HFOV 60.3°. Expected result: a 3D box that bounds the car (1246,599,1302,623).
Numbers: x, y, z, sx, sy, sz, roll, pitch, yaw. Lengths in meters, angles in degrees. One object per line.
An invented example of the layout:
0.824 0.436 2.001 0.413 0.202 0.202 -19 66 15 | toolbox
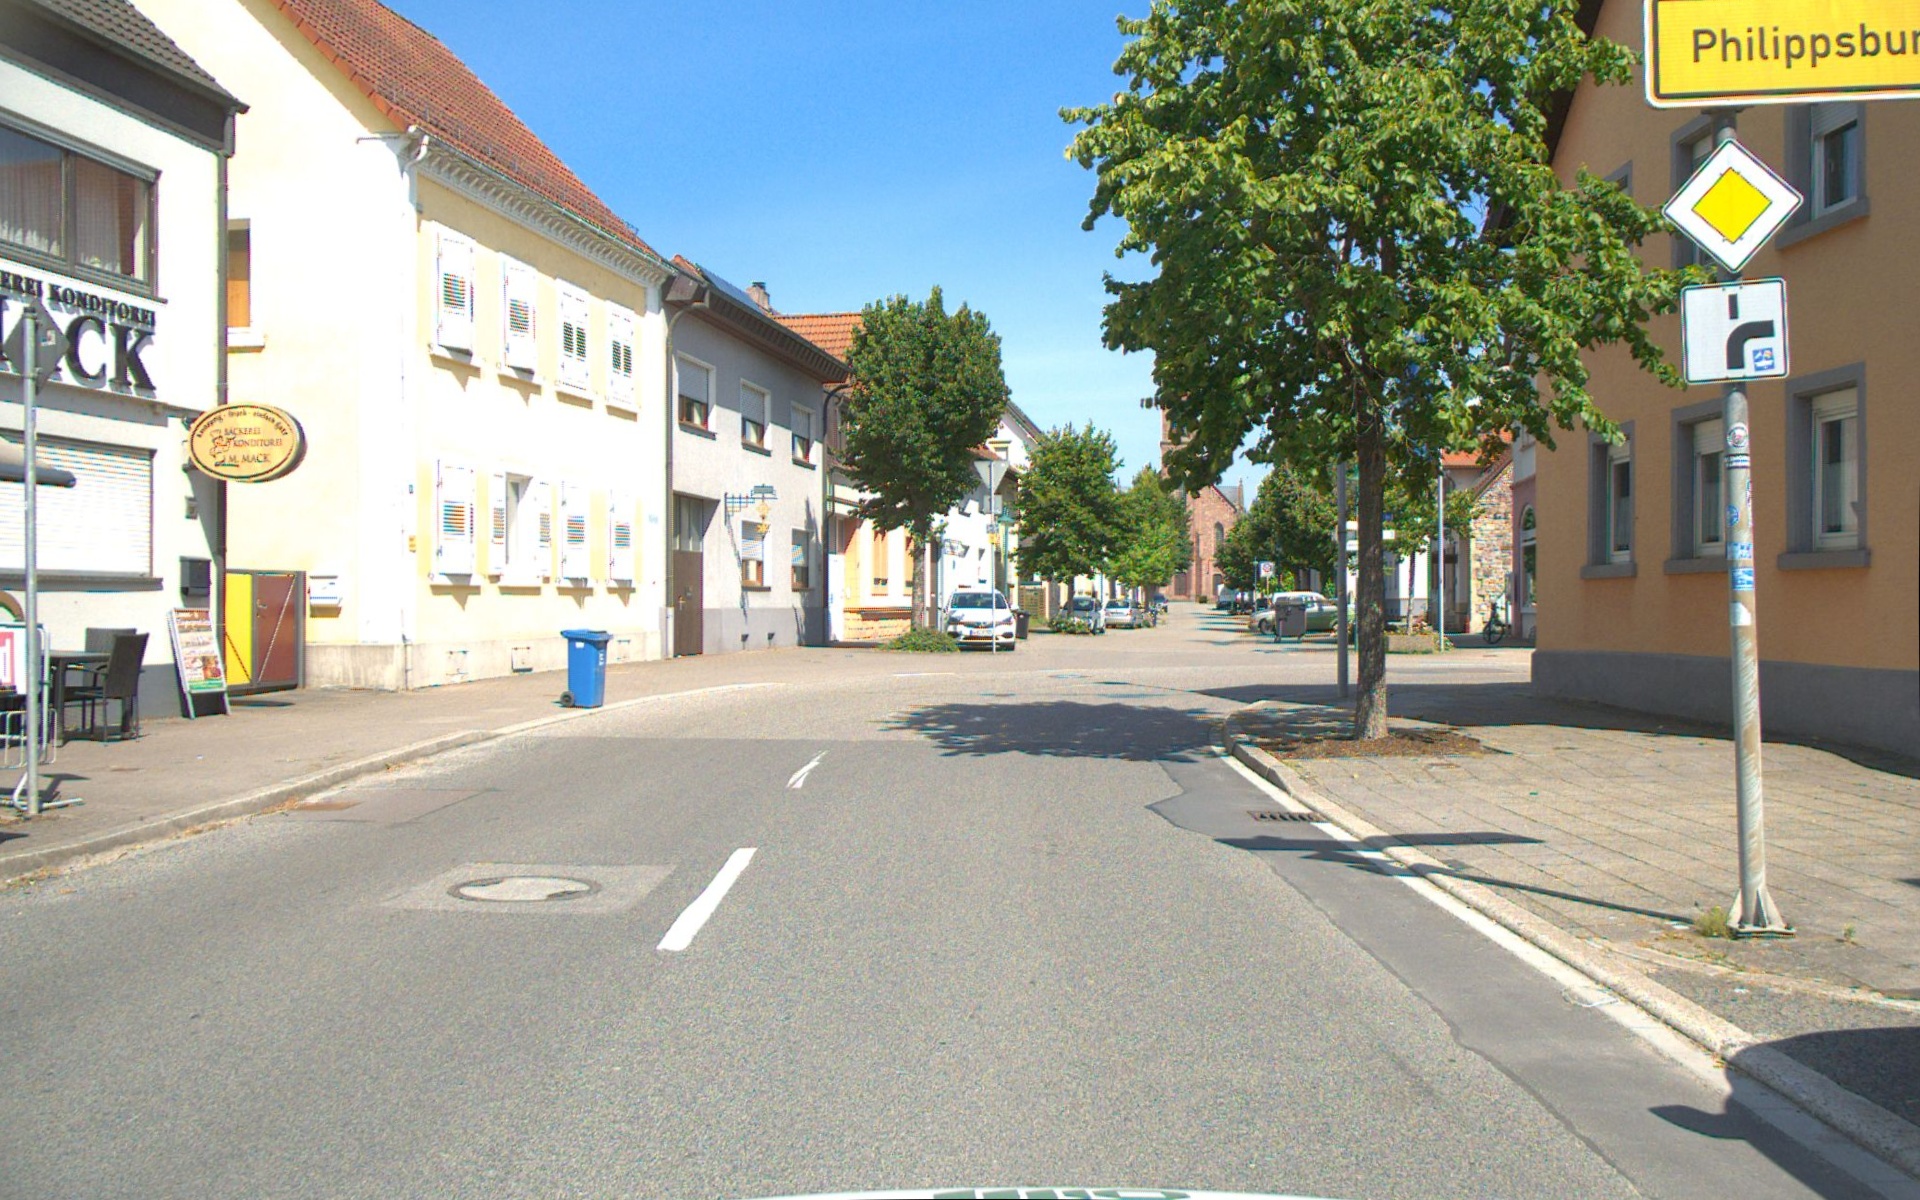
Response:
22.696 0.781 119.616 3.902 1.646 2.002 -1 0 7 | car

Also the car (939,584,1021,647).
0.434 0.351 41.038 1.812 1.466 4.511 0 0 -2 | car

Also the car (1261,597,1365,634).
13.622 0.572 64.002 3.840 1.368 2.002 0 0 9 | car

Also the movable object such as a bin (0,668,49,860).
-5.109 0.829 8.397 0.629 0.940 0.613 0 0 -1 | movable object such as a bin

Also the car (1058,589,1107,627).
5.473 0.333 73.508 1.951 1.601 4.003 -1 0 8 | car

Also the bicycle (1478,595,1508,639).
14.450 0.462 44.871 0.580 1.155 1.750 -1 0 12 | bicycle

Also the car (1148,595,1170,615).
18.522 0.471 154.242 1.951 1.847 4.003 -1 0 6 | car

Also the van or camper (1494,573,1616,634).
20.689 0.132 57.650 3.903 2.049 2.001 -1 0 18 | van or camper

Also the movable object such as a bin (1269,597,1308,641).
10.248 0.586 51.524 1.162 1.361 0.790 -1 0 13 | movable object such as a bin

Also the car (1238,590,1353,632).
14.276 0.455 70.542 4.701 1.652 2.002 1 -1 9 | car

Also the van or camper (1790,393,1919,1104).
3.701 0.431 2.666 1.953 1.988 5.345 0 0 -1 | van or camper

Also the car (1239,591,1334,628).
14.421 0.423 73.306 4.061 1.595 2.002 0 0 9 | car

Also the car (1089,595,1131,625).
7.602 0.506 84.253 1.952 1.489 4.001 0 0 3 | car

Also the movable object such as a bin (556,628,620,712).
-4.554 0.845 20.274 0.629 0.998 0.614 0 0 2 | movable object such as a bin

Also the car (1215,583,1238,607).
27.204 -0.467 168.893 2.197 2.318 4.506 1 -1 9 | car

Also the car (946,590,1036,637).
1.088 0.415 55.381 1.942 1.466 5.215 0 0 13 | car
